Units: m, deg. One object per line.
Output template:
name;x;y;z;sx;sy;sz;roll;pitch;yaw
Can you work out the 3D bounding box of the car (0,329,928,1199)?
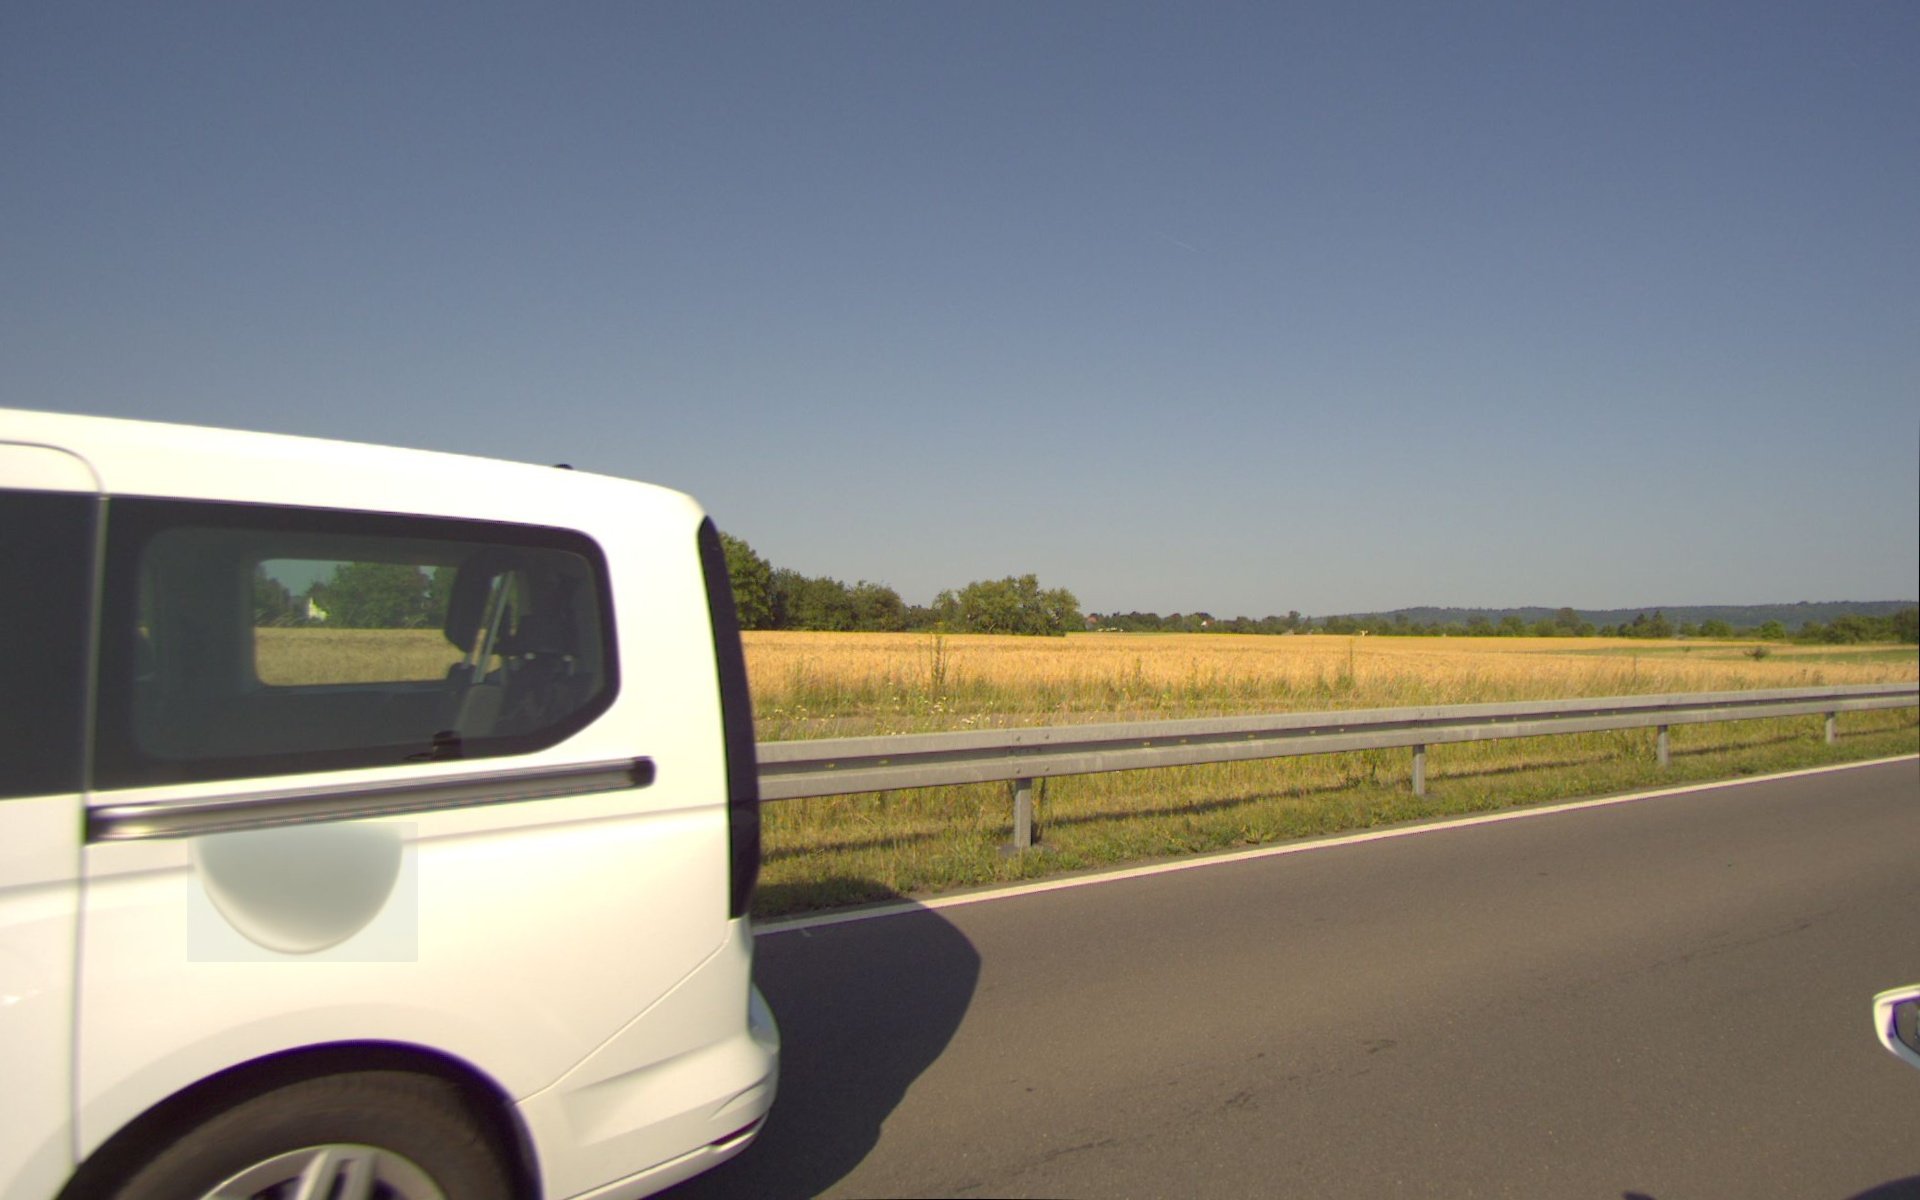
car;-2.417;0.515;1.884;4.381;1.810;1.828;1;-1;-30
